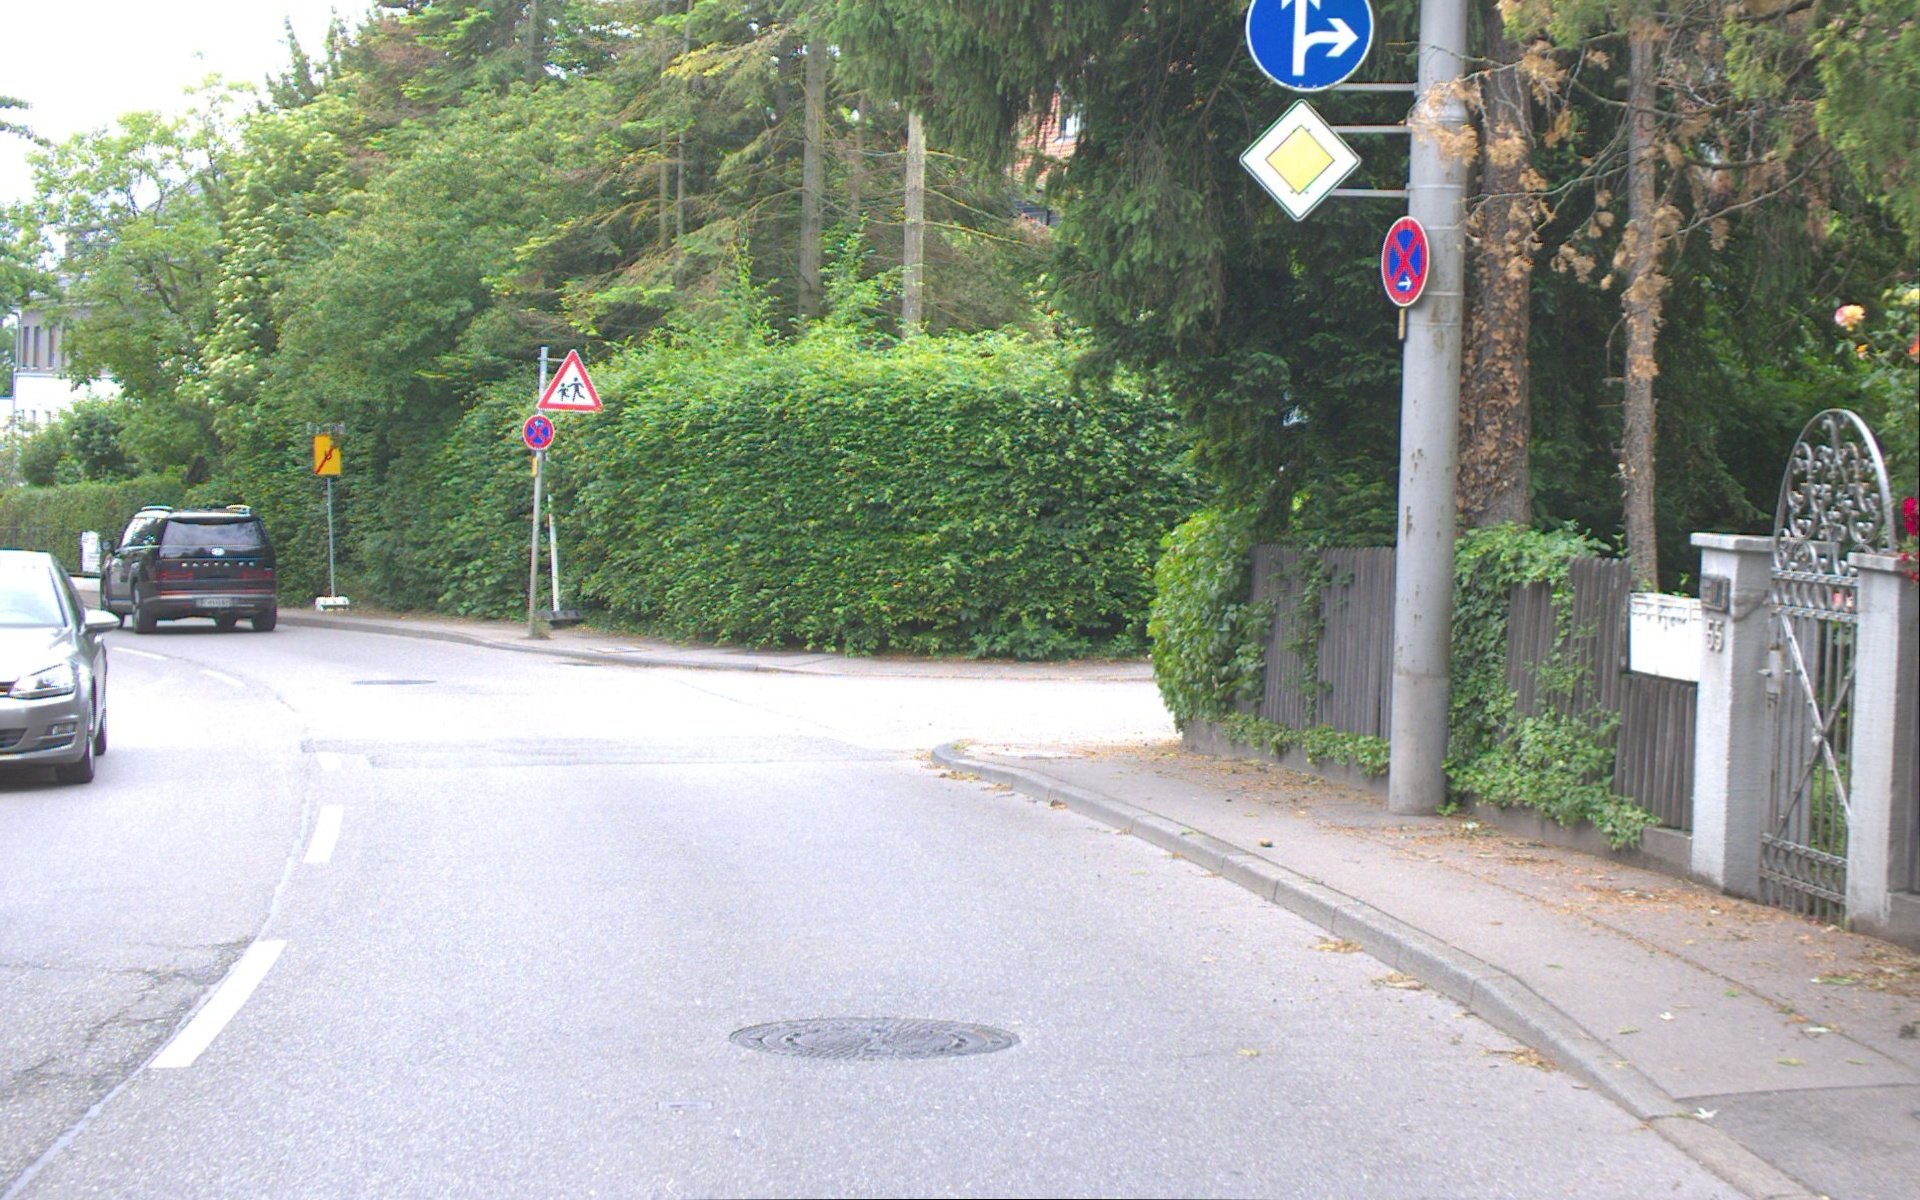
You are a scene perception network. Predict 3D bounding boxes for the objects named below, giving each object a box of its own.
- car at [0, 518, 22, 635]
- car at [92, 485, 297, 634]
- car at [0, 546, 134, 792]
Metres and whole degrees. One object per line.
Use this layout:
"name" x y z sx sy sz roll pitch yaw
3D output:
"car" -13.322 -0.309 43.934 1.807 1.438 4.199 -1 1 -26
"car" -10.812 -0.601 48.379 1.993 1.875 4.002 1 3 -24
"car" -6.373 0.371 21.830 1.912 1.393 3.910 0 1 -9
